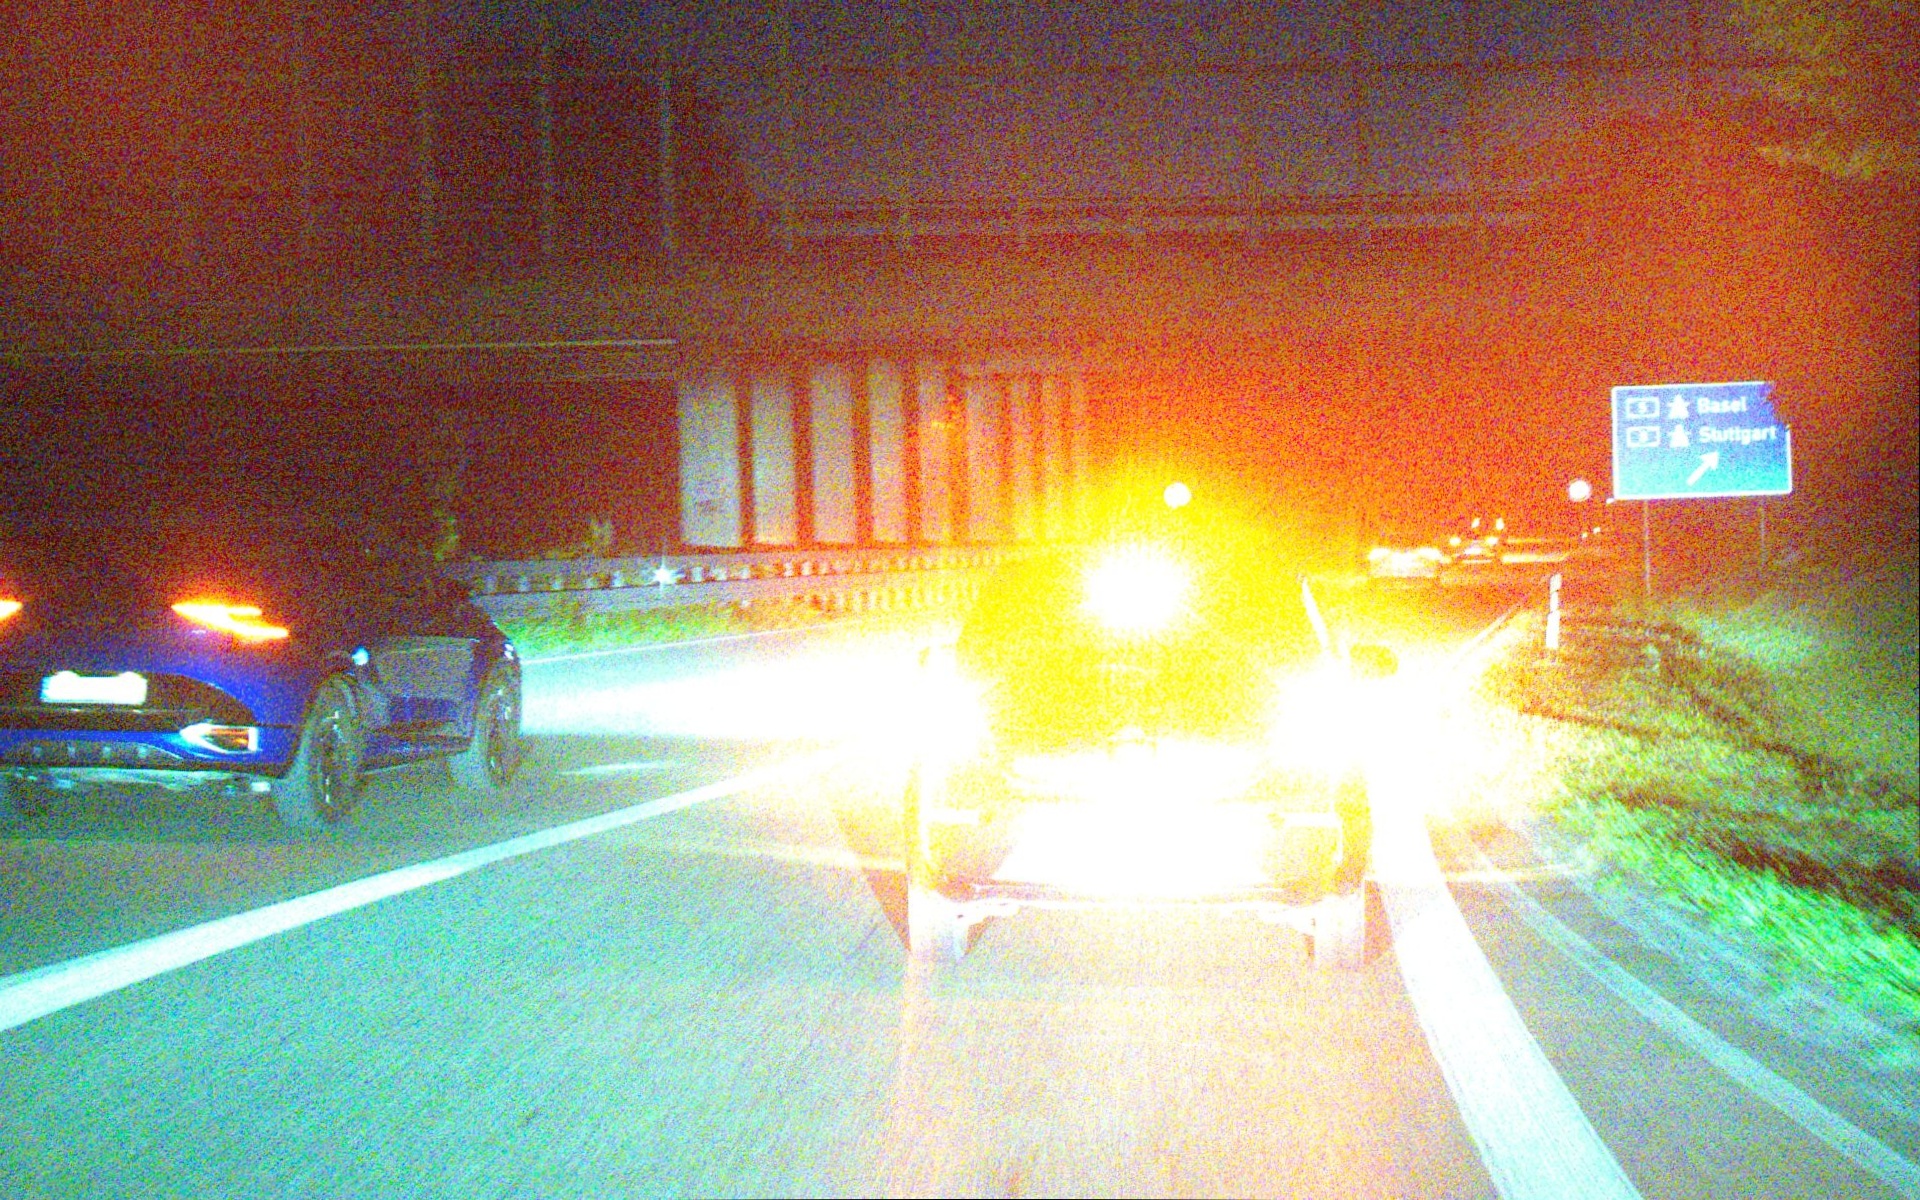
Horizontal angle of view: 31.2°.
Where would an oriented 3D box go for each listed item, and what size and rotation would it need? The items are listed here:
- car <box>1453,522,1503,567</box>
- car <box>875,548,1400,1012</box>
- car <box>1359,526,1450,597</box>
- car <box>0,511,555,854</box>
[{"bbox_3d":[19.188,-2.058,127.273,1.734,1.612,3.797,0,1,9],"label":"car"},{"bbox_3d":[0.668,0.561,13.315,1.691,1.472,4.000,1,1,2],"label":"car"},{"bbox_3d":[10.898,-0.919,84.155,1.952,1.533,4.239,-5,-1,9],"label":"car"},{"bbox_3d":[-3.835,0.347,18.671,1.941,1.603,4.641,1,1,11],"label":"car"}]
